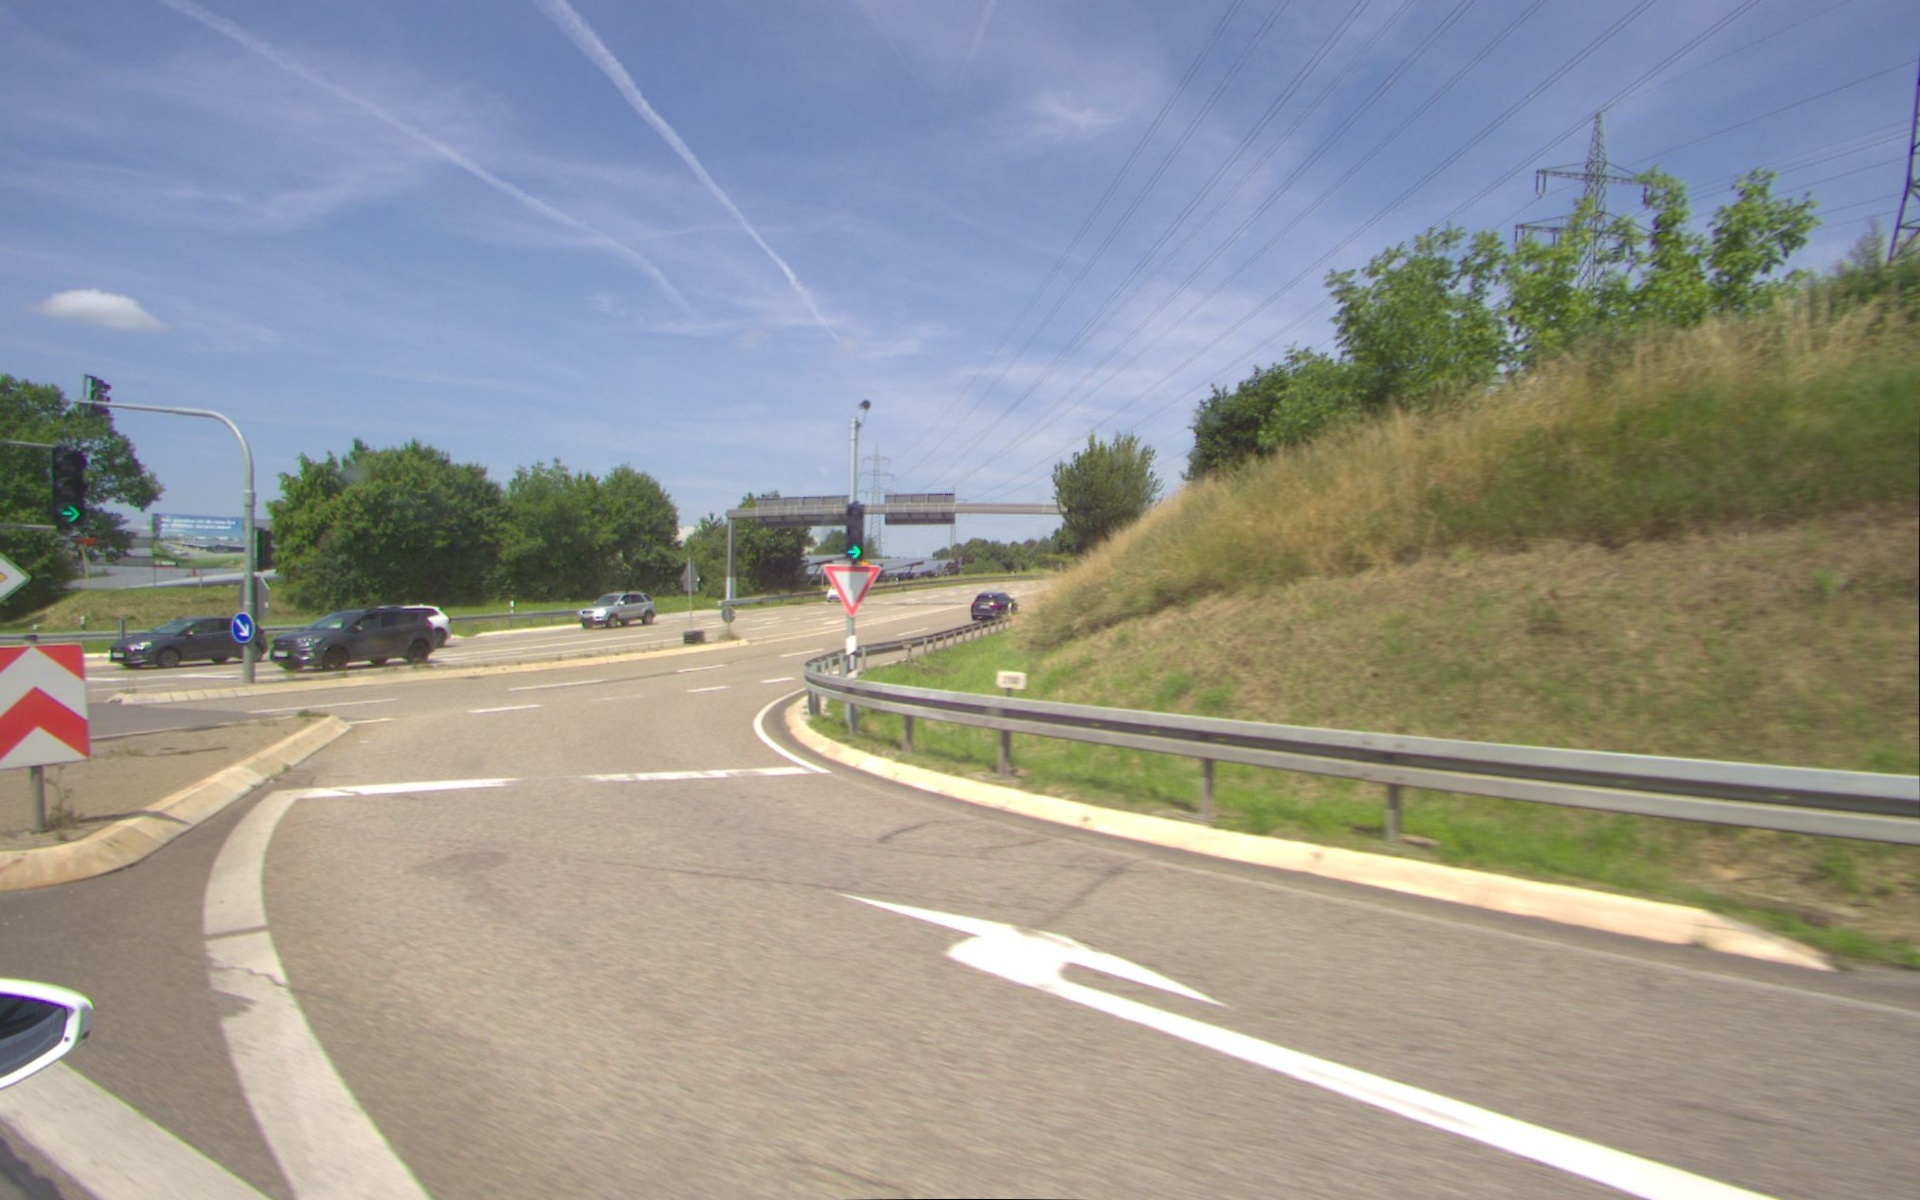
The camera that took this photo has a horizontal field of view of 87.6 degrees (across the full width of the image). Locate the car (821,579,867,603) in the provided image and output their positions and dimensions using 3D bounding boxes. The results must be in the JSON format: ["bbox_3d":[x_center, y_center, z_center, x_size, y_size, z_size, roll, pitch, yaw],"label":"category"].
[{"bbox_3d":[-8.890,-0.700,76.982,1.751,1.622,3.987,0,3,22],"label":"car"}]

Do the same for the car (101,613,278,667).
[{"bbox_3d":[-23.361,1.171,30.537,1.687,1.530,3.989,-1,-1,23],"label":"car"}]

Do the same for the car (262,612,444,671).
[{"bbox_3d":[-17.247,1.131,28.717,1.687,1.530,4.362,-1,0,21],"label":"car"}]

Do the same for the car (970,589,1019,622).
[{"bbox_3d":[1.911,0.275,54.322,1.719,1.554,4.289,1,3,16],"label":"car"}]

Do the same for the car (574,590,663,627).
[{"bbox_3d":[-17.280,0.405,50.909,1.806,1.678,4.358,0,2,23],"label":"car"}]

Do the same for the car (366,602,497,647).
[{"bbox_3d":[-20.495,0.915,39.052,1.750,1.613,4.359,-1,1,23],"label":"car"}]
